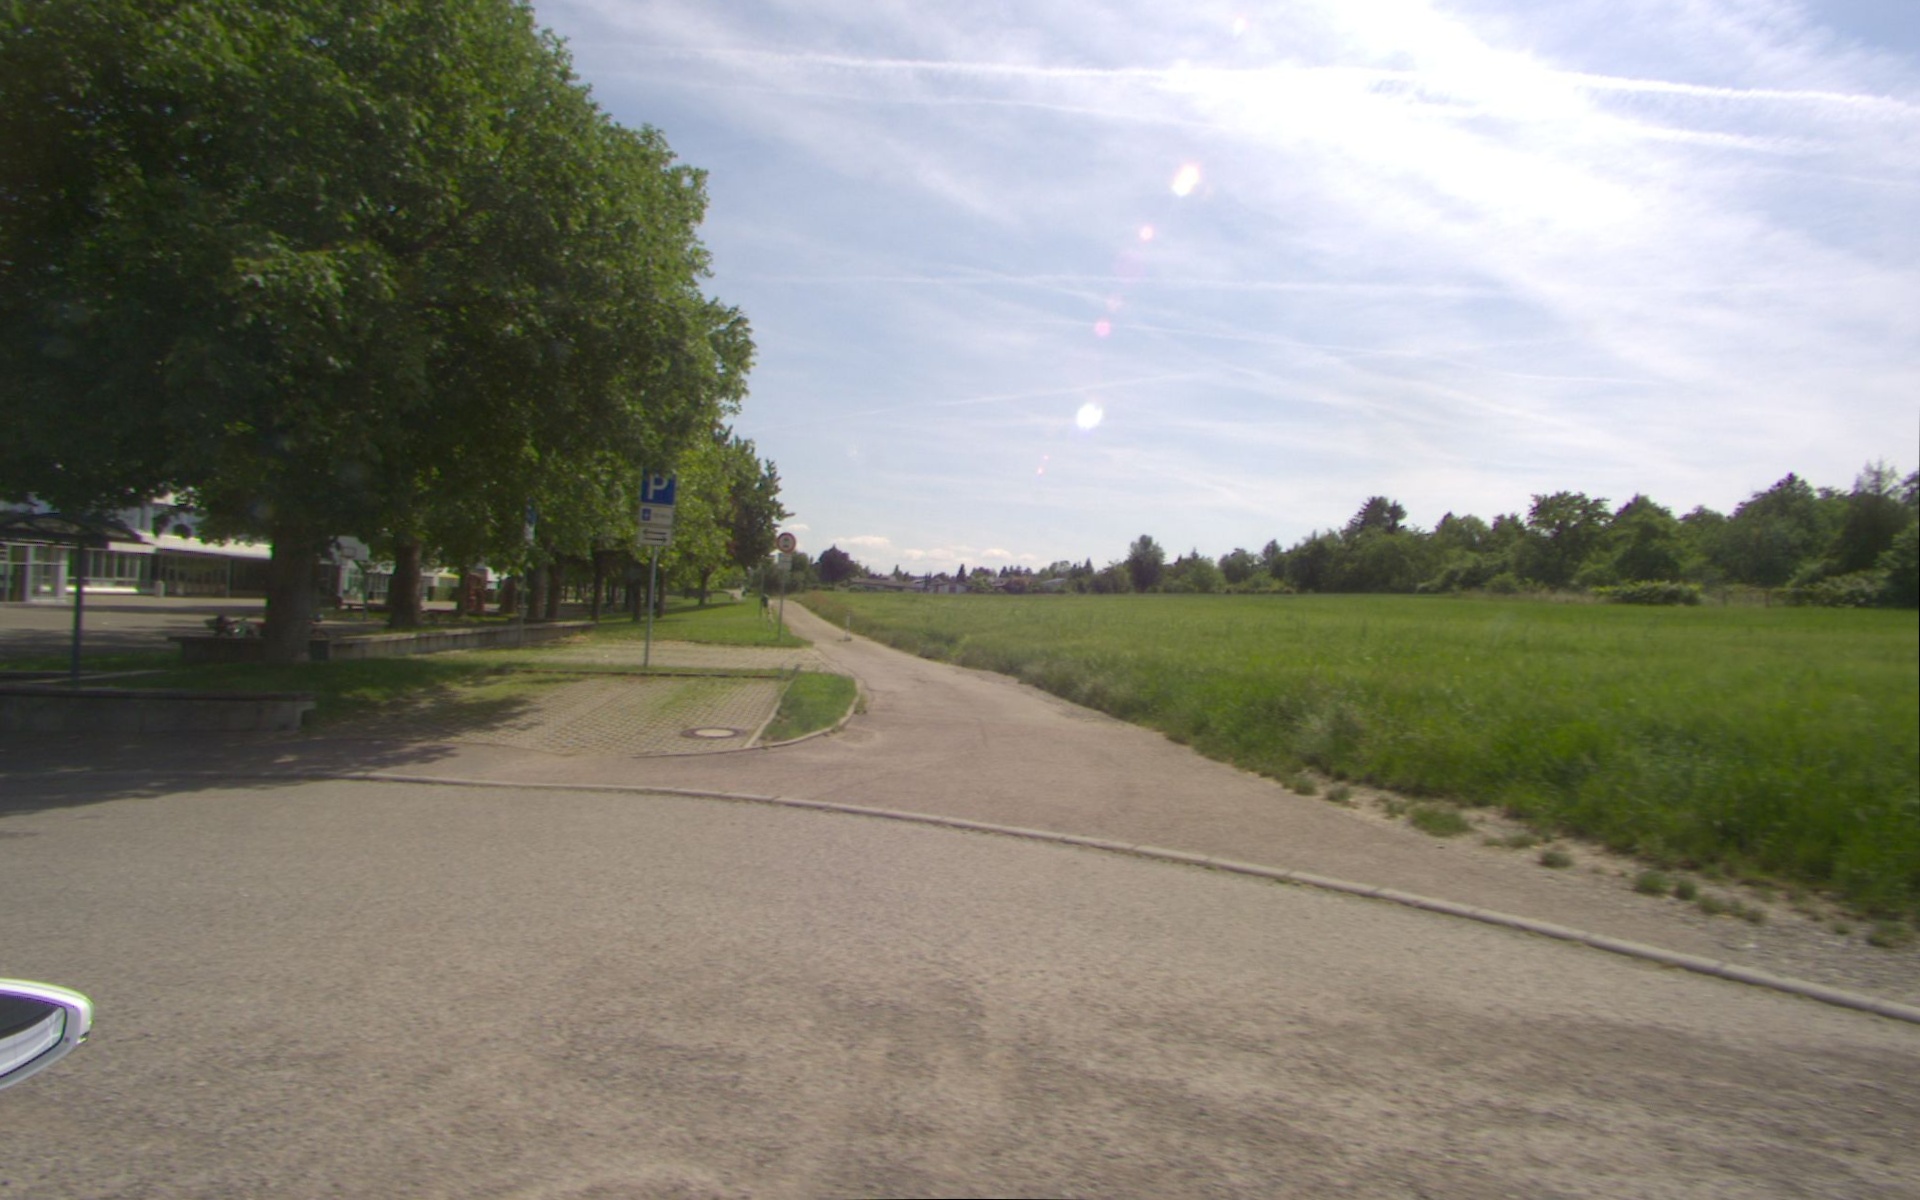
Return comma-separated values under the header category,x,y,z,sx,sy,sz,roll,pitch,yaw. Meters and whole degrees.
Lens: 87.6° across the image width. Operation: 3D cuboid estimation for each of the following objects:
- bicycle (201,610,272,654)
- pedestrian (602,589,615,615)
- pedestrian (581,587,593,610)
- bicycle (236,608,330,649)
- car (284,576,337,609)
category,x,y,z,sx,sy,sz,roll,pitch,yaw
bicycle,-18.214,0.795,25.266,0.585,1.053,1.892,1,0,-7
pedestrian,-29.182,0.168,83.136,0.794,2.040,0.679,2,-1,43
pedestrian,-33.530,-0.112,89.949,0.823,2.040,0.688,3,0,-30
bicycle,-18.424,0.774,27.300,2.035,1.053,0.570,2,0,-22
car,-38.860,-0.424,59.996,1.667,1.858,3.405,2,-1,-16
